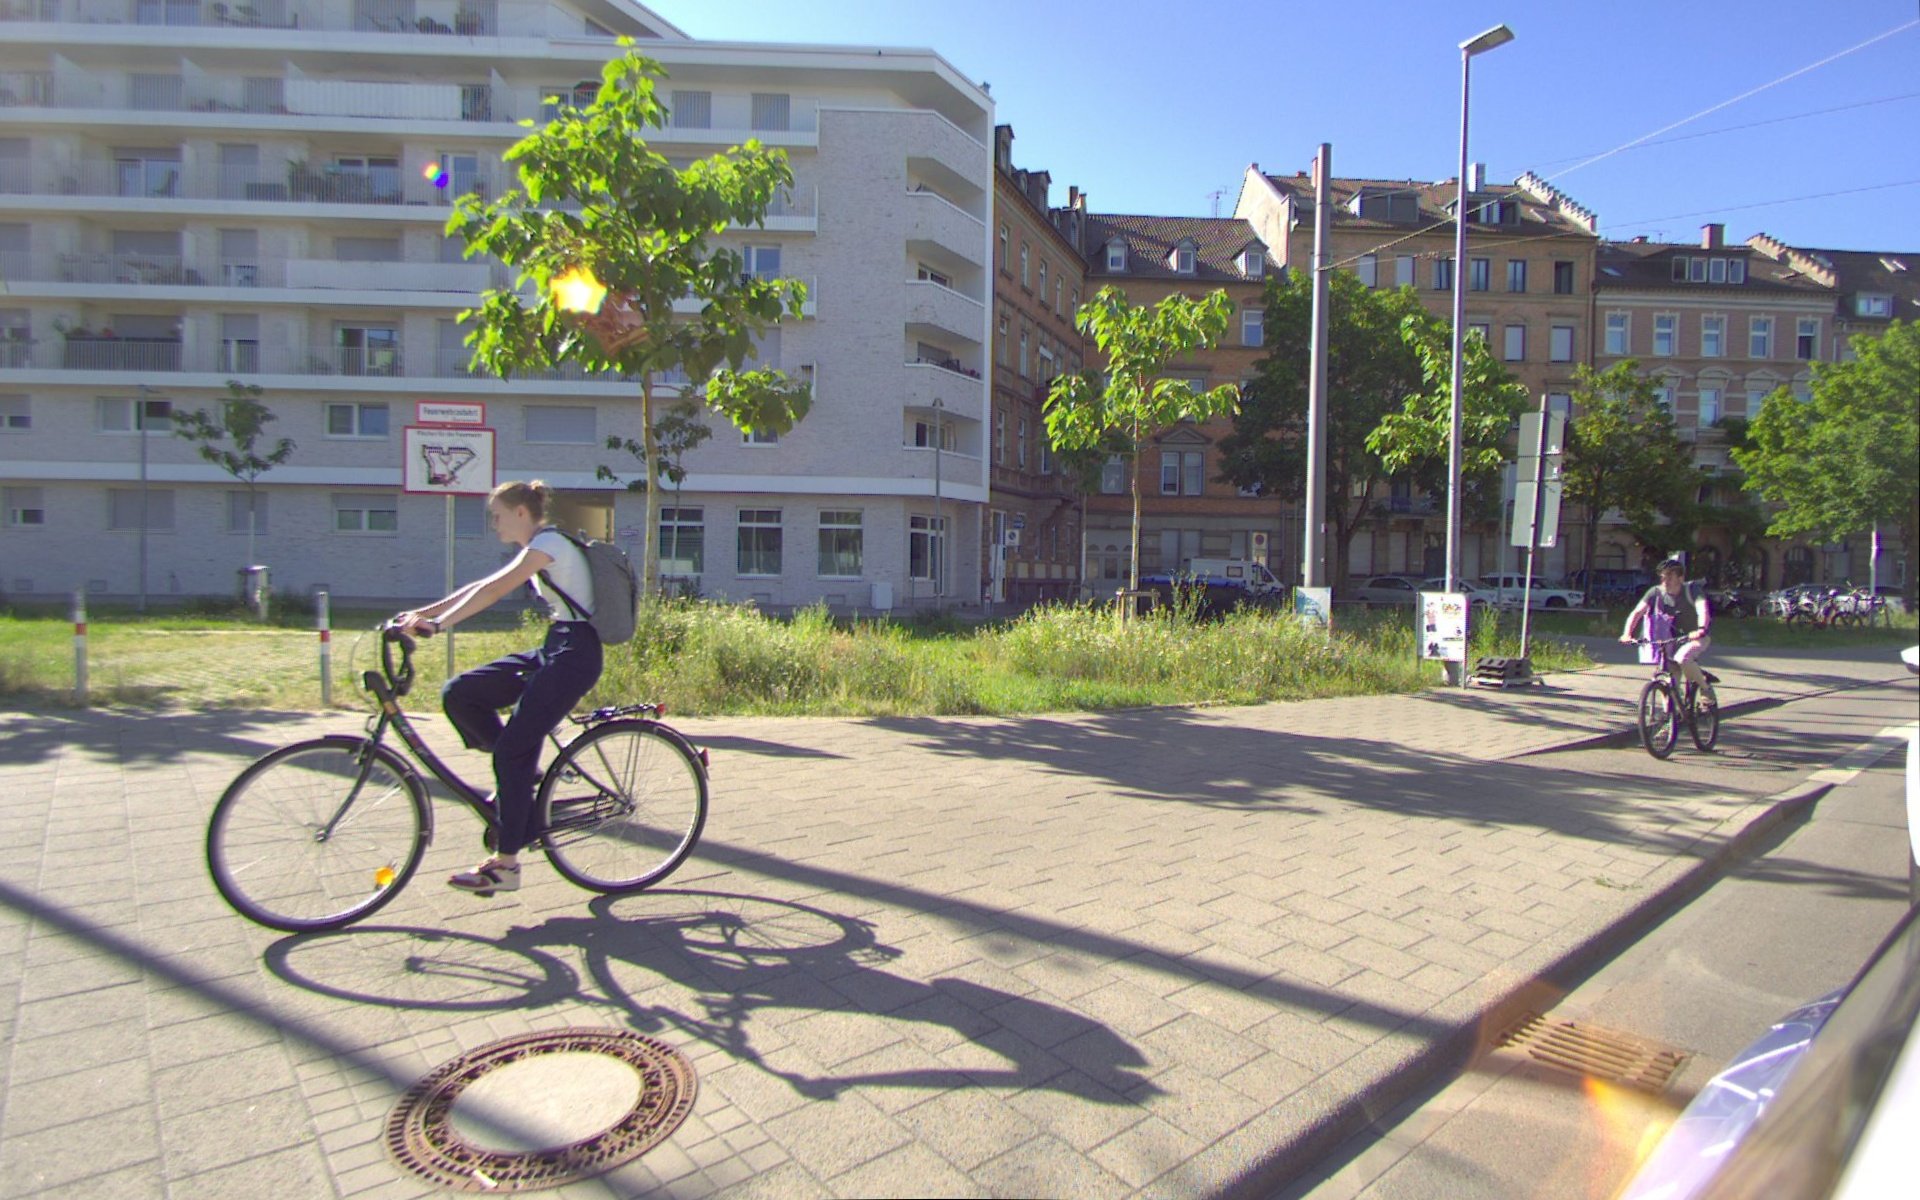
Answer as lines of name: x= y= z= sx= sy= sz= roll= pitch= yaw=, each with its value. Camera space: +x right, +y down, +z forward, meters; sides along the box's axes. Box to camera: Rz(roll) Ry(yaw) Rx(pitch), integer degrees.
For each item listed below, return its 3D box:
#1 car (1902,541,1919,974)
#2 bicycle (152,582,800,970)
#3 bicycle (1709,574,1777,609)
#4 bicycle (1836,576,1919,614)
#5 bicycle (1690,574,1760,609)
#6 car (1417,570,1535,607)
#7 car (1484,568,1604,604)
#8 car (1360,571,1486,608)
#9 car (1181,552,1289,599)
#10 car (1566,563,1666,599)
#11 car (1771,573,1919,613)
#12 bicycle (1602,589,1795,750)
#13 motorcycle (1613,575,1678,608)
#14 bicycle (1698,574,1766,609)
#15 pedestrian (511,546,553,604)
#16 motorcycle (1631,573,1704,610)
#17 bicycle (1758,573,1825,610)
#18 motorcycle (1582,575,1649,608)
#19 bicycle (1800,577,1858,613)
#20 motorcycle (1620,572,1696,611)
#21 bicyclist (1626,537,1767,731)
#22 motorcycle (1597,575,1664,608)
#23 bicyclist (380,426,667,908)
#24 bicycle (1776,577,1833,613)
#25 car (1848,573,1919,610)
car: x=5.866 y=0.606 z=4.721 sx=4.323 sy=1.667 sz=1.840 roll=0 pitch=0 yaw=-43
bicycle: x=-1.751 y=0.548 z=3.962 sx=2.110 sy=1.212 sz=0.670 roll=0 pitch=1 yaw=-28
bicycle: x=29.721 y=-0.330 z=38.468 sx=0.649 sy=1.284 sz=2.208 roll=0 pitch=0 yaw=-9
bicycle: x=31.626 y=-0.170 z=34.768 sx=2.180 sy=1.284 sz=0.657 roll=0 pitch=0 yaw=25
bicycle: x=28.367 y=-0.314 z=37.569 sx=0.649 sy=1.284 sz=2.208 roll=0 pitch=0 yaw=-11
car: x=19.669 y=-0.472 z=38.722 sx=1.648 sy=1.267 sz=3.709 roll=0 pitch=3 yaw=-28
car: x=22.326 y=-0.582 z=38.778 sx=1.513 sy=1.267 sz=3.700 roll=-1 pitch=3 yaw=-39
car: x=17.346 y=-0.426 z=38.112 sx=1.648 sy=1.267 sz=4.170 roll=0 pitch=3 yaw=-28
car: x=12.658 y=-1.159 z=46.788 sx=4.416 sy=2.062 sz=2.054 roll=1 pitch=2 yaw=0
car: x=30.872 y=-0.925 z=47.654 sx=3.631 sy=1.607 sz=1.552 roll=1 pitch=2 yaw=0
car: x=34.683 y=-0.324 z=39.597 sx=1.651 sy=1.423 sz=4.324 roll=-1 pitch=3 yaw=-38
bicycle: x=7.017 y=0.599 z=9.586 sx=2.034 sy=1.378 sz=0.738 roll=0 pitch=1 yaw=-31
motorcycle: x=27.485 y=-0.339 z=40.616 sx=0.649 sy=1.284 sz=2.209 roll=0 pitch=0 yaw=-18
bicycle: x=29.078 y=-0.323 z=38.157 sx=0.649 sy=1.284 sz=2.208 roll=0 pitch=0 yaw=-9
pedestrian: x=-13.092 y=-0.772 z=30.983 sx=0.829 sy=1.717 sz=0.985 roll=2 pitch=2 yaw=2
motorcycle: x=26.151 y=-0.325 z=37.473 sx=0.649 sy=1.339 sz=2.208 roll=0 pitch=0 yaw=-23
bicycle: x=29.271 y=-0.296 z=35.678 sx=0.651 sy=1.284 sz=2.202 roll=0 pitch=0 yaw=4
motorcycle: x=26.024 y=-0.332 z=40.230 sx=0.649 sy=1.293 sz=2.324 roll=0 pitch=0 yaw=-18
bicycle: x=32.032 y=-0.197 z=37.339 sx=0.653 sy=1.284 sz=2.196 roll=0 pitch=0 yaw=12
motorcycle: x=25.335 y=-0.310 z=36.784 sx=0.650 sy=1.347 sz=2.207 roll=0 pitch=0 yaw=-28
bicyclist: x=6.941 y=0.290 z=9.543 sx=0.952 sy=1.715 sz=0.737 roll=0 pitch=1 yaw=-31
motorcycle: x=26.694 y=-0.340 z=40.362 sx=0.649 sy=1.300 sz=2.324 roll=0 pitch=0 yaw=-18
bicyclist: x=-1.715 y=0.221 z=3.977 sx=0.952 sy=1.649 sz=0.670 roll=0 pitch=1 yaw=-28
bicycle: x=30.938 y=-0.189 z=37.115 sx=0.653 sy=1.284 sz=2.196 roll=0 pitch=0 yaw=12
car: x=37.819 y=-0.333 z=39.967 sx=1.649 sy=1.423 sz=3.832 roll=-1 pitch=3 yaw=-32
